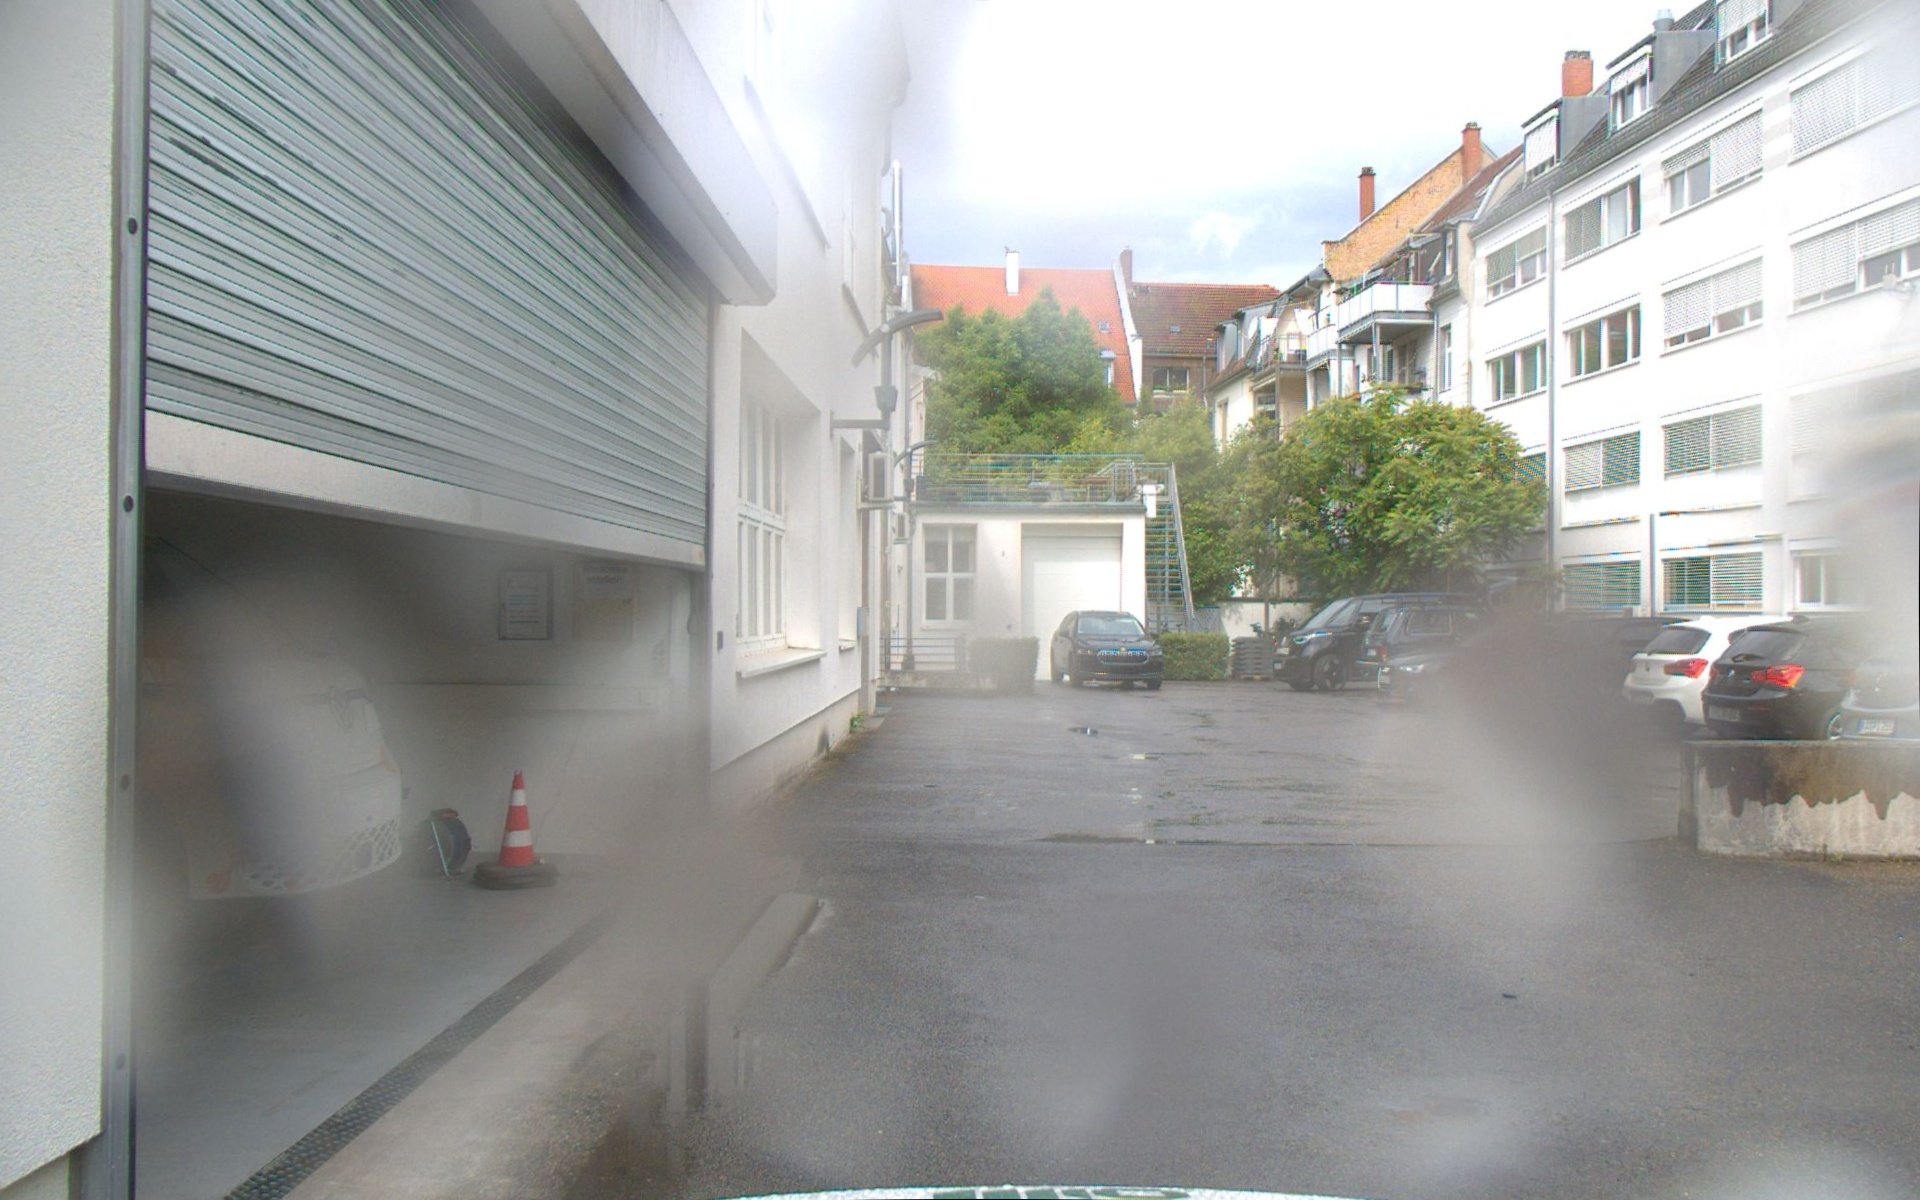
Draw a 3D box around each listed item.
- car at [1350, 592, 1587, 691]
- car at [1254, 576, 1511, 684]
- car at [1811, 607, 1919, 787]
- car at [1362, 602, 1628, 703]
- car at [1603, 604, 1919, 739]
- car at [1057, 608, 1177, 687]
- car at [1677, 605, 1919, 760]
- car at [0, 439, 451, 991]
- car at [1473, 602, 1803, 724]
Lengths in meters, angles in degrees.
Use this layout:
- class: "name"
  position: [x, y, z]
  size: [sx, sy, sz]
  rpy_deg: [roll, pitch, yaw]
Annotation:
- class: "car"
  position: [9.417, 0.758, 30.842]
  size: [3.829, 1.717, 1.817]
  rpy_deg: [-1, -1, -1]
- class: "car"
  position: [8.548, 0.580, 33.660]
  size: [4.550, 2.038, 2.220]
  rpy_deg: [-1, 0, -10]
- class: "car"
  position: [9.866, 0.775, 14.470]
  size: [3.907, 1.471, 1.806]
  rpy_deg: [-1, -1, -3]
- class: "car"
  position: [8.862, 0.854, 27.567]
  size: [3.832, 1.540, 1.750]
  rpy_deg: [-1, -1, -5]
- class: "car"
  position: [9.926, 0.807, 19.604]
  size: [3.909, 1.484, 1.771]
  rpy_deg: [-1, -1, -5]
- class: "car"
  position: [3.076, 0.911, 33.217]
  size: [1.939, 1.469, 3.999]
  rpy_deg: [0, 0, -1]
- class: "car"
  position: [9.757, 0.785, 17.111]
  size: [3.908, 1.427, 1.772]
  rpy_deg: [-2, 0, -4]
- class: "car"
  position: [-4.890, 0.394, 7.271]
  size: [4.593, 2.049, 2.085]
  rpy_deg: [1, -1, 0]
- class: "car"
  position: [9.362, 0.845, 23.012]
  size: [3.834, 1.540, 1.817]
  rpy_deg: [-1, -1, -7]
